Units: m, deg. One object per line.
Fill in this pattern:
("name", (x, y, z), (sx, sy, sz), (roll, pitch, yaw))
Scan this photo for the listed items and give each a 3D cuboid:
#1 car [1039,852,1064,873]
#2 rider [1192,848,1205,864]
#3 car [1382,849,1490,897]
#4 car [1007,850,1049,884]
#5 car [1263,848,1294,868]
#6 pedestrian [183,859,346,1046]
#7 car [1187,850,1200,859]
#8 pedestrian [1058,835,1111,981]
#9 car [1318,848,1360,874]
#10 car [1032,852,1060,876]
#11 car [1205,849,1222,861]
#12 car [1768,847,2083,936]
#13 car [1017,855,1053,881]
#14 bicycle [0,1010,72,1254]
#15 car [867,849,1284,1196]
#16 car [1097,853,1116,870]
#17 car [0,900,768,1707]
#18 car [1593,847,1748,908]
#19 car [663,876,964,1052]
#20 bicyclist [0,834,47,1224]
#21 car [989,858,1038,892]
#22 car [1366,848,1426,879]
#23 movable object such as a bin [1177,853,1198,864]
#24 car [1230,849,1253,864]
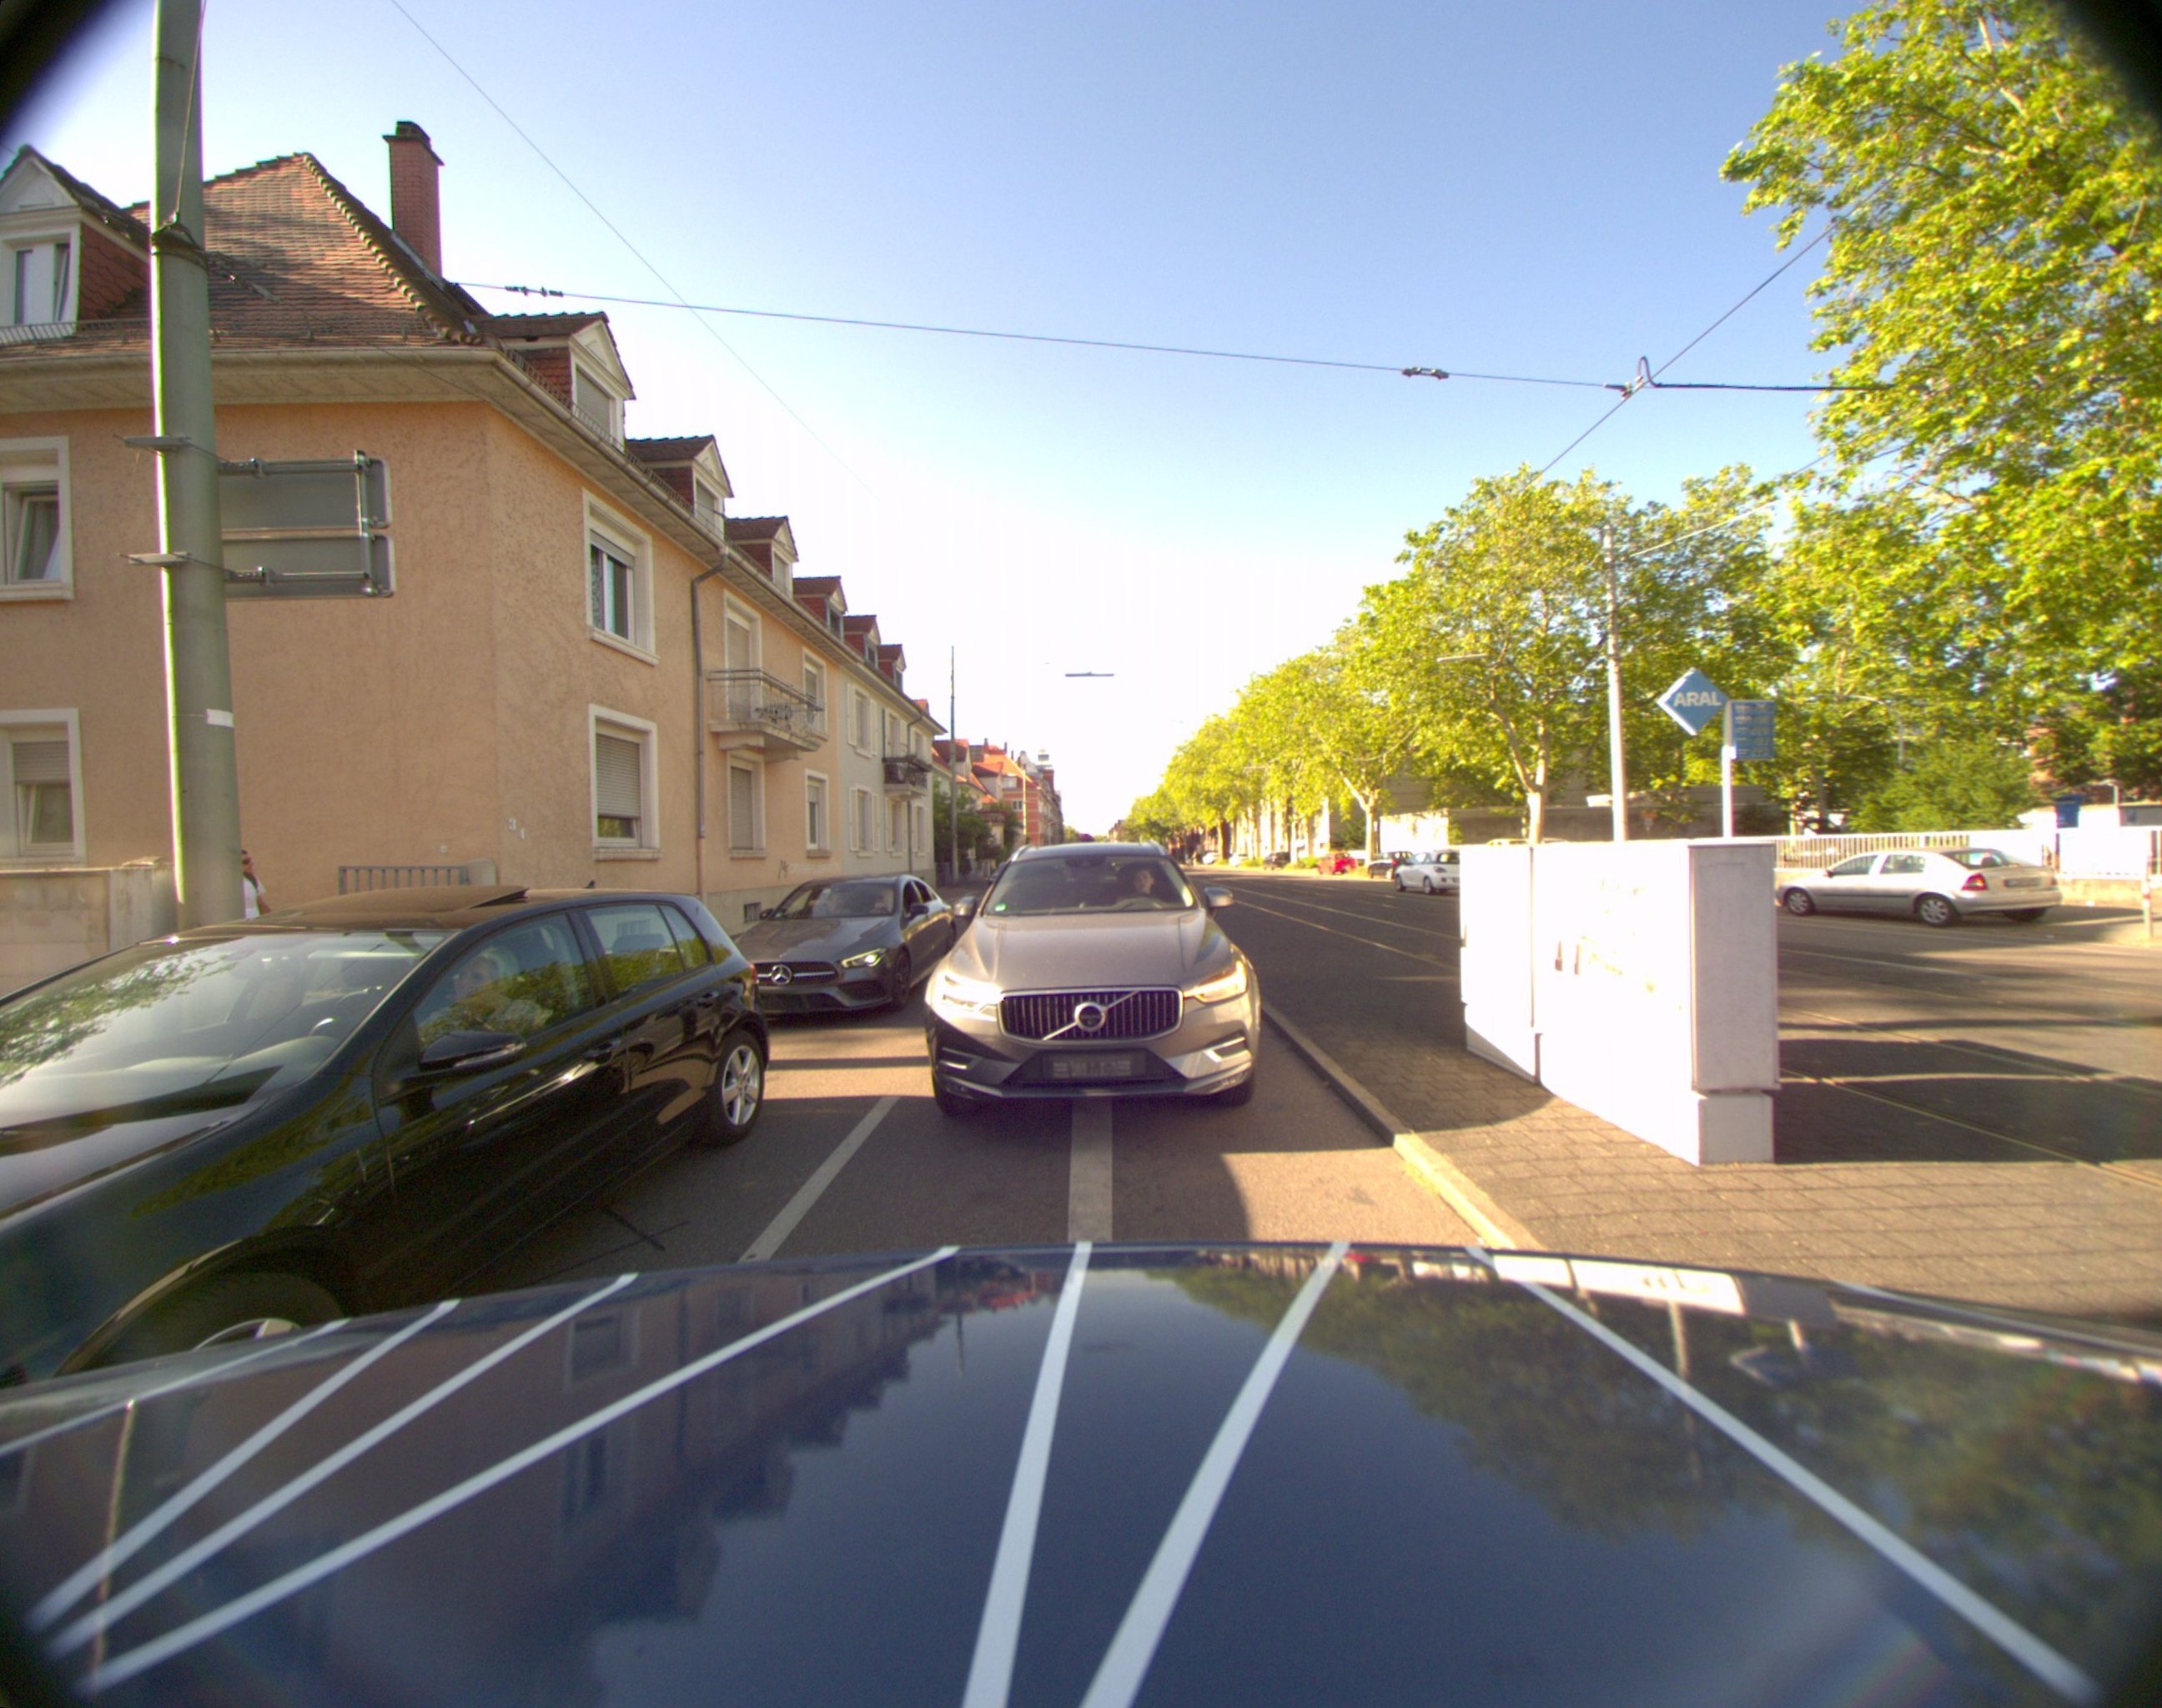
("car", (-2.583, 0.702, 67.283), (1.825, 1.701, 4.334), (-2, 1, 1))
("rider", (11.958, 0.224, 77.293), (0.727, 1.639, 1.103), (-3, 1, -38))
("car", (11.739, 0.561, 25.406), (1.742, 1.427, 3.935), (2, 1, 1))
("car", (-2.899, 0.695, 42.398), (1.825, 1.701, 4.334), (-2, 1, 1))
("car", (17.118, 0.333, 65.943), (1.754, 1.582, 3.878), (-4, 1, 3))
("pedestrian", (-7.493, 0.875, 7.001), (0.760, 1.596, 0.611), (4, 1, -2))
("car", (18.569, 0.068, 125.492), (1.661, 1.452, 3.730), (-4, 1, 3))
("pedestrian", (0.049, 0.681, 9.898), (0.609, 1.832, 0.599), (-2, 1, 1))
("car", (16.941, 0.415, 50.064), (1.661, 1.486, 3.377), (-4, 1, 3))
("car", (-2.772, 0.780, 60.917), (1.825, 1.701, 4.334), (-2, 1, 1))
("car", (17.589, 0.109, 100.683), (1.661, 1.452, 3.730), (-4, 1, 3))
("car", (16.204, 0.634, 14.954), (1.687, 1.358, 3.989), (-6, 0, 1))
("car", (-2.783, 0.827, 46.913), (1.825, 1.424, 4.334), (-2, 1, 1))
("bicycle", (-5.108, 1.310, 2.942), (0.556, 1.069, 1.623), (2, 0, -16))
("car", (0.125, 0.803, 5.782), (1.924, 1.579, 4.387), (-2, 1, 4))
("car", (2.645, 0.742, 78.817), (1.851, 1.640, 3.999), (-2, 1, 1))
("car", (-2.798, 1.049, 2.589), (1.717, 1.430, 3.990), (-2, 1, 1))
("car", (16.423, 0.601, 21.409), (1.619, 1.436, 3.606), (-4, 1, 3))
("car", (-2.713, 1.042, 8.958), (1.825, 1.422, 4.491), (-2, -1, 1))
("bicyclist", (-5.082, 0.743, 2.934), (1.021, 1.684, 0.728), (2, 0, -16))
("car", (-3.223, 0.969, 37.143), (1.825, 1.422, 4.334), (-2, 1, 1))
("car", (16.844, 0.453, 40.799), (1.723, 1.436, 3.769), (-4, 1, 3))
("movable object such as a bin", (11.001, 0.481, 78.424), (1.181, 1.097, 1.830), (-3, 1, -38))
("car", (17.633, 0.252, 83.468), (1.754, 1.532, 3.878), (-4, 1, 3))
